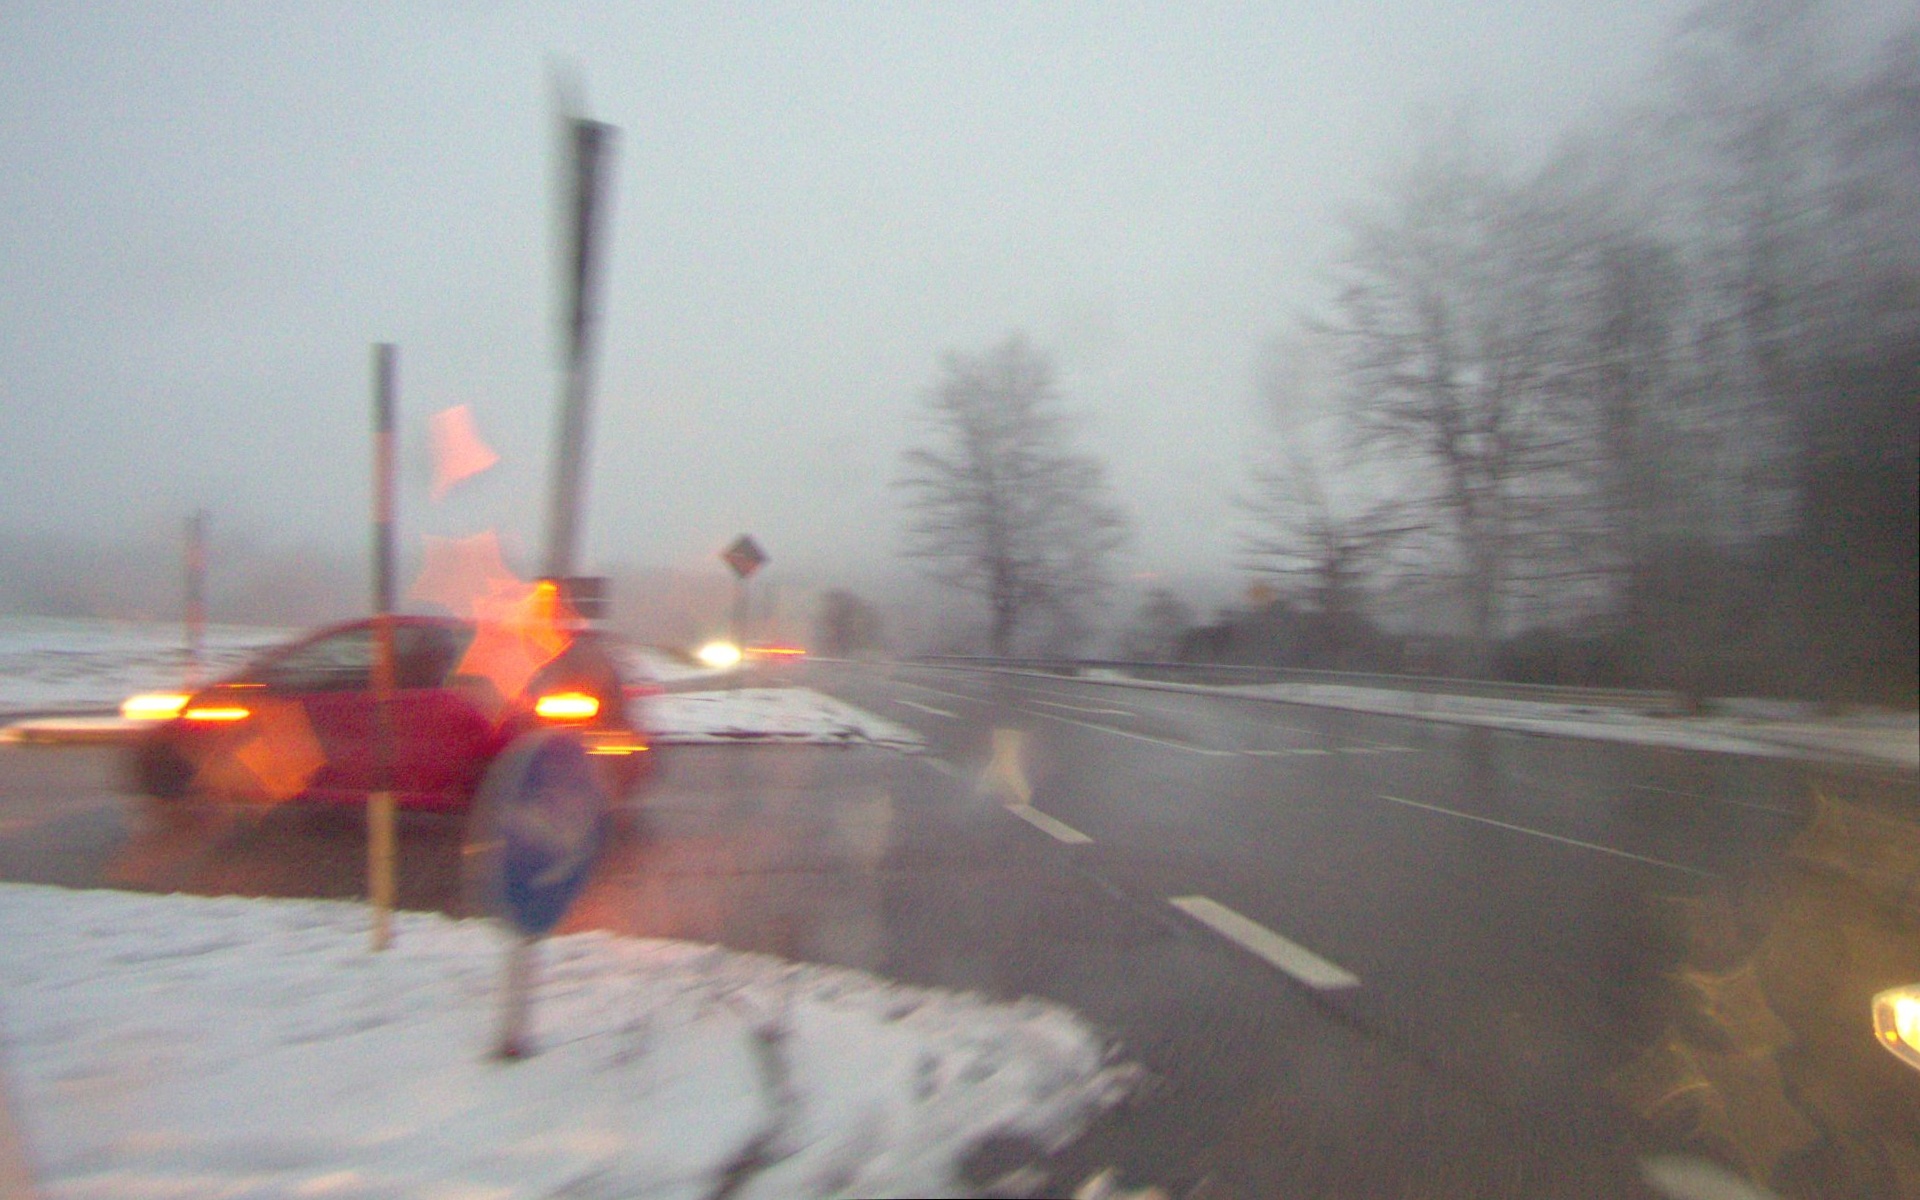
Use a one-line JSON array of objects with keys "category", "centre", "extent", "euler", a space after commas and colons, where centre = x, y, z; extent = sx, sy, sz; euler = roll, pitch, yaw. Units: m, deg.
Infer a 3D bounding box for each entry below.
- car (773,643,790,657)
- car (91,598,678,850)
[{"category": "car", "centre": [-20.598, 5.745, 115.820], "extent": [1.669, 1.572, 3.846], "euler": [2, -2, -14]}, {"category": "car", "centre": [-3.969, 0.783, 7.215], "extent": [3.344, 1.472, 1.578], "euler": [2, -1, 7]}]
